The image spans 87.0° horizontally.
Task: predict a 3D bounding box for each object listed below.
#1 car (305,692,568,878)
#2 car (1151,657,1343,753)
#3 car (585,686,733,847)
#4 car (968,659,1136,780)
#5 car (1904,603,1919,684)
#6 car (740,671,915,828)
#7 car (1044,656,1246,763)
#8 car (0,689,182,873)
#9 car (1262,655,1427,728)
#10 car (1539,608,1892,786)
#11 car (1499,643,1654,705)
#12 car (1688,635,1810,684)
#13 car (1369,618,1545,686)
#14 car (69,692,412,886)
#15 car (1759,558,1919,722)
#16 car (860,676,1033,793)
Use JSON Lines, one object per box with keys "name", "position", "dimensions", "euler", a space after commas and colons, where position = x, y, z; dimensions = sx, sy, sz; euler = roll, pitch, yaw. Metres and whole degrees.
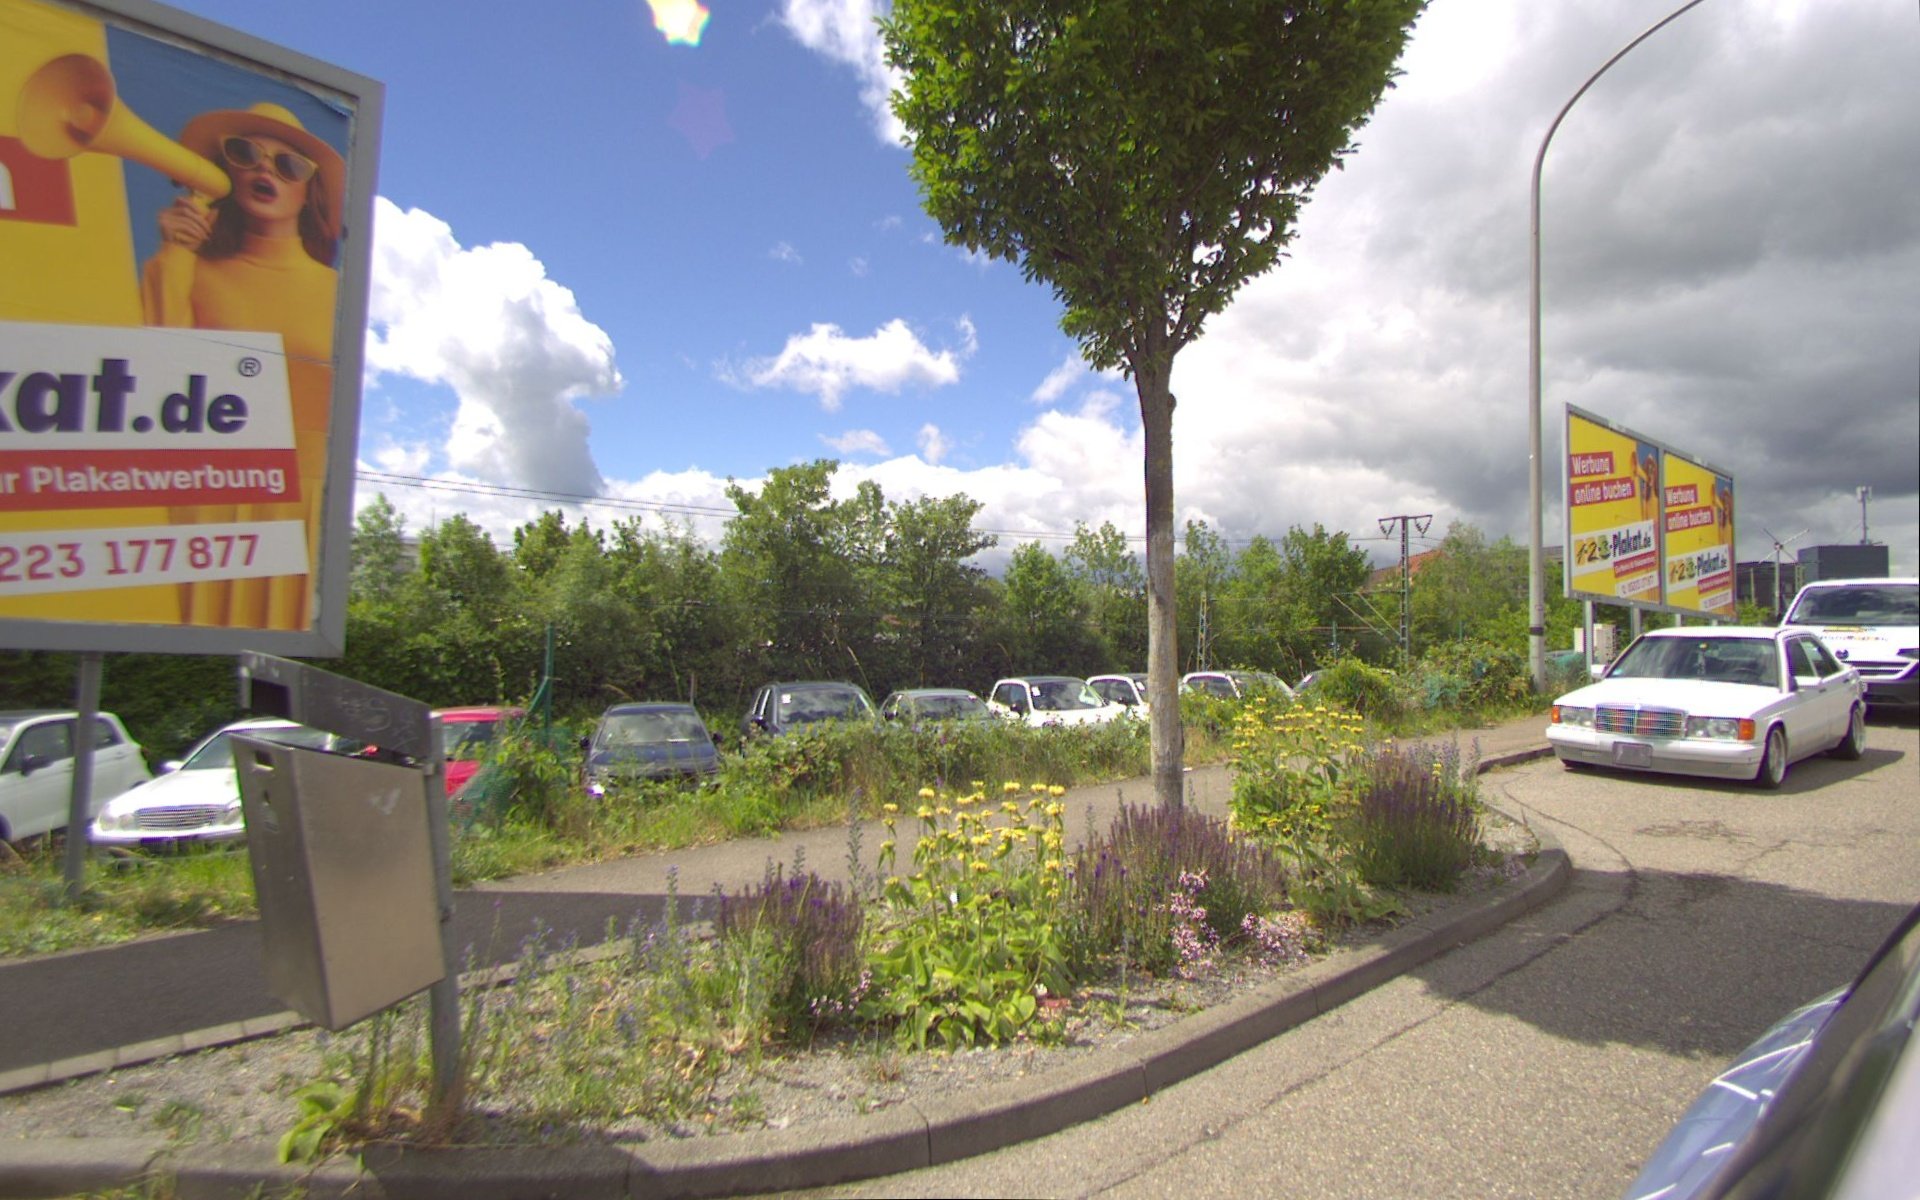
{"name": "car", "position": [-6.111, 2.061, 12.347], "dimensions": [1.775, 1.505, 4.006], "euler": [0, 0, -11]}
{"name": "car", "position": [5.652, 2.023, 20.457], "dimensions": [1.611, 1.509, 4.007], "euler": [0, 0, -21]}
{"name": "car", "position": [-4.148, 2.064, 13.576], "dimensions": [1.641, 1.464, 4.008], "euler": [0, 0, -20]}
{"name": "car", "position": [1.485, 1.984, 17.902], "dimensions": [1.606, 1.661, 4.008], "euler": [0, 0, -16]}
{"name": "car", "position": [19.281, 0.784, 18.994], "dimensions": [3.905, 1.469, 1.597], "euler": [0, -1, -37]}
{"name": "car", "position": [-2.052, 1.987, 14.615], "dimensions": [1.681, 1.656, 4.008], "euler": [0, 0, -20]}
{"name": "car", "position": [3.429, 1.995, 19.528], "dimensions": [1.756, 1.618, 4.005], "euler": [0, -1, -27]}
{"name": "car", "position": [-10.564, 1.928, 10.976], "dimensions": [1.751, 1.560, 4.006], "euler": [0, 0, -11]}
{"name": "car", "position": [8.392, 1.928, 22.007], "dimensions": [3.641, 1.276, 1.576], "euler": [0, -1, -35]}
{"name": "car", "position": [7.473, 0.787, 9.881], "dimensions": [4.126, 1.405, 1.642], "euler": [0, -1, -37]}
{"name": "car", "position": [16.555, 1.928, 27.131], "dimensions": [4.467, 1.369, 1.822], "euler": [0, -1, -34]}
{"name": "car", "position": [25.814, 1.896, 33.063], "dimensions": [4.467, 1.369, 1.822], "euler": [0, -1, -34]}
{"name": "car", "position": [12.078, 1.192, 24.516], "dimensions": [4.467, 1.460, 1.822], "euler": [0, -1, -34]}
{"name": "car", "position": [-7.960, 1.985, 11.709], "dimensions": [1.709, 1.469, 4.006], "euler": [0, 0, -11]}
{"name": "car", "position": [13.730, 0.511, 14.641], "dimensions": [5.442, 2.030, 1.980], "euler": [0, -1, -36]}
{"name": "car", "position": [-0.362, 2.109, 16.814], "dimensions": [1.630, 1.399, 4.007], "euler": [0, 0, -20]}
